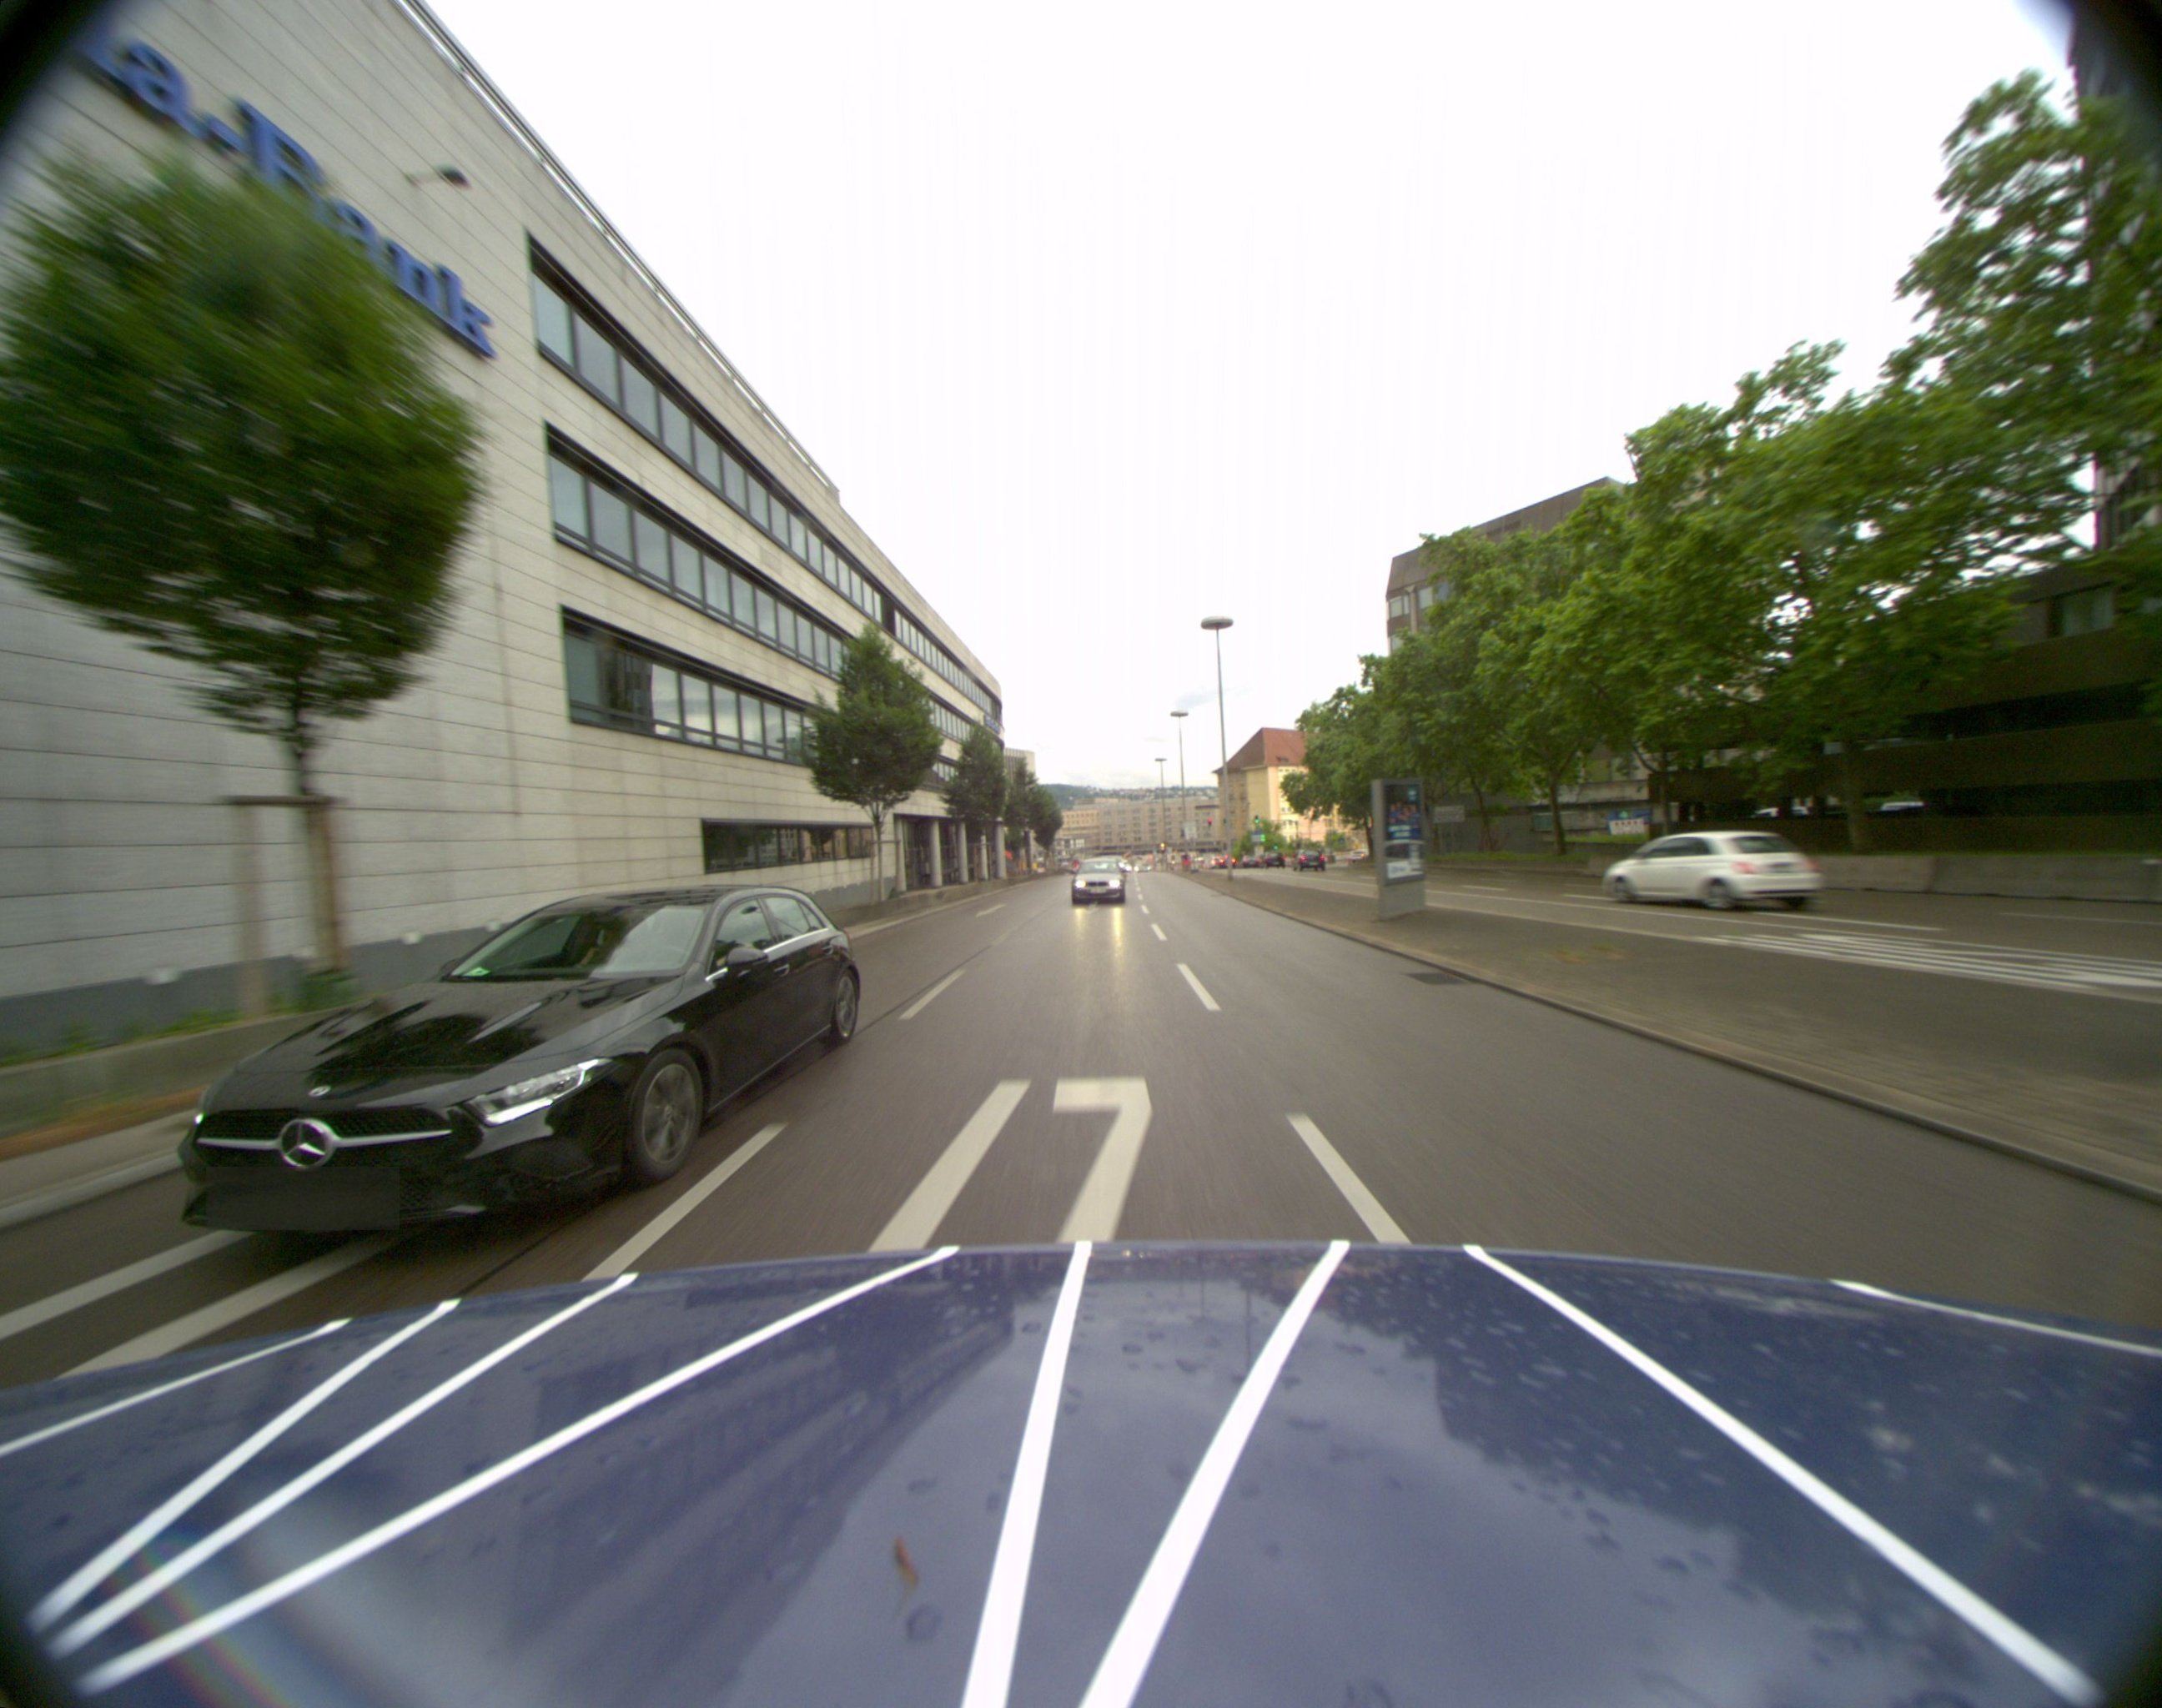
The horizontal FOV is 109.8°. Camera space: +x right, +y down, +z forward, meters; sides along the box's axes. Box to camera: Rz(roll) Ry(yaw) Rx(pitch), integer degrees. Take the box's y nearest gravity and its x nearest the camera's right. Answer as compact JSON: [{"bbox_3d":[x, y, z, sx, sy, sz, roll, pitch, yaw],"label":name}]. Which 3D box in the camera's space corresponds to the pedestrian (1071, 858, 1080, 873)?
[{"bbox_3d":[-0.697,1.488,99.689,0.992,1.936,0.767,-2,1,6],"label":"pedestrian"}]

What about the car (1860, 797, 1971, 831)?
[{"bbox_3d":[47.767,-2.245,43.628,1.998,1.707,3.999,-2,0,0],"label":"car"}]

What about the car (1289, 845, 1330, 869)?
[{"bbox_3d":[15.732,0.213,52.452,1.937,1.491,4.175,-2,-1,6],"label":"car"}]

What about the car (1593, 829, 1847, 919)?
[{"bbox_3d":[12.423,0.339,15.120,1.759,1.510,3.739,-2,0,-3],"label":"car"}]

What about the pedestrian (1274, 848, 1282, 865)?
[{"bbox_3d":[24.948,0.313,96.215,0.812,2.002,0.662,-2,1,-27],"label":"pedestrian"}]

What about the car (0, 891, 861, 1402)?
[{"bbox_3d":[-3.005,1.074,4.573,1.877,1.428,4.206,-2,0,3],"label":"car"}]

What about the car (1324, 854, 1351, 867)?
[{"bbox_3d":[30.725,0.755,91.013,1.938,1.491,4.507,-2,0,4],"label":"car"}]

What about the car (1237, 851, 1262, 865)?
[{"bbox_3d":[18.281,0.447,82.707,1.938,1.428,4.507,-2,0,4],"label":"car"}]

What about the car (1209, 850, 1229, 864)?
[{"bbox_3d":[15.999,0.308,88.376,1.798,1.477,3.864,-2,1,4],"label":"car"}]

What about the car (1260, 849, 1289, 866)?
[{"bbox_3d":[17.510,0.299,69.045,1.937,1.428,4.077,-2,0,6],"label":"car"}]

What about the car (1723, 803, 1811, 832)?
[{"bbox_3d":[46.013,-2.422,51.059,3.990,1.707,2.003,-2,0,28],"label":"car"}]

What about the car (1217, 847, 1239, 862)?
[{"bbox_3d":[15.740,0.038,81.689,1.798,1.477,3.865,-2,0,3],"label":"car"}]

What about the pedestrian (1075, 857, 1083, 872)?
[{"bbox_3d":[-0.250,1.342,100.732,0.765,1.936,0.995,-1,1,22],"label":"pedestrian"}]

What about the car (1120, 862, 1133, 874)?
[{"bbox_3d":[7.752,2.382,130.093,1.998,2.002,4.001,-2,1,6],"label":"car"}]

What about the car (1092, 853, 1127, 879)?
[{"bbox_3d":[1.694,0.661,44.280,1.862,1.449,4.206,0,0,4],"label":"car"}]

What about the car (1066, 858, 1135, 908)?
[{"bbox_3d":[0.729,0.884,24.626,1.862,1.428,4.207,-3,-1,6],"label":"car"}]
